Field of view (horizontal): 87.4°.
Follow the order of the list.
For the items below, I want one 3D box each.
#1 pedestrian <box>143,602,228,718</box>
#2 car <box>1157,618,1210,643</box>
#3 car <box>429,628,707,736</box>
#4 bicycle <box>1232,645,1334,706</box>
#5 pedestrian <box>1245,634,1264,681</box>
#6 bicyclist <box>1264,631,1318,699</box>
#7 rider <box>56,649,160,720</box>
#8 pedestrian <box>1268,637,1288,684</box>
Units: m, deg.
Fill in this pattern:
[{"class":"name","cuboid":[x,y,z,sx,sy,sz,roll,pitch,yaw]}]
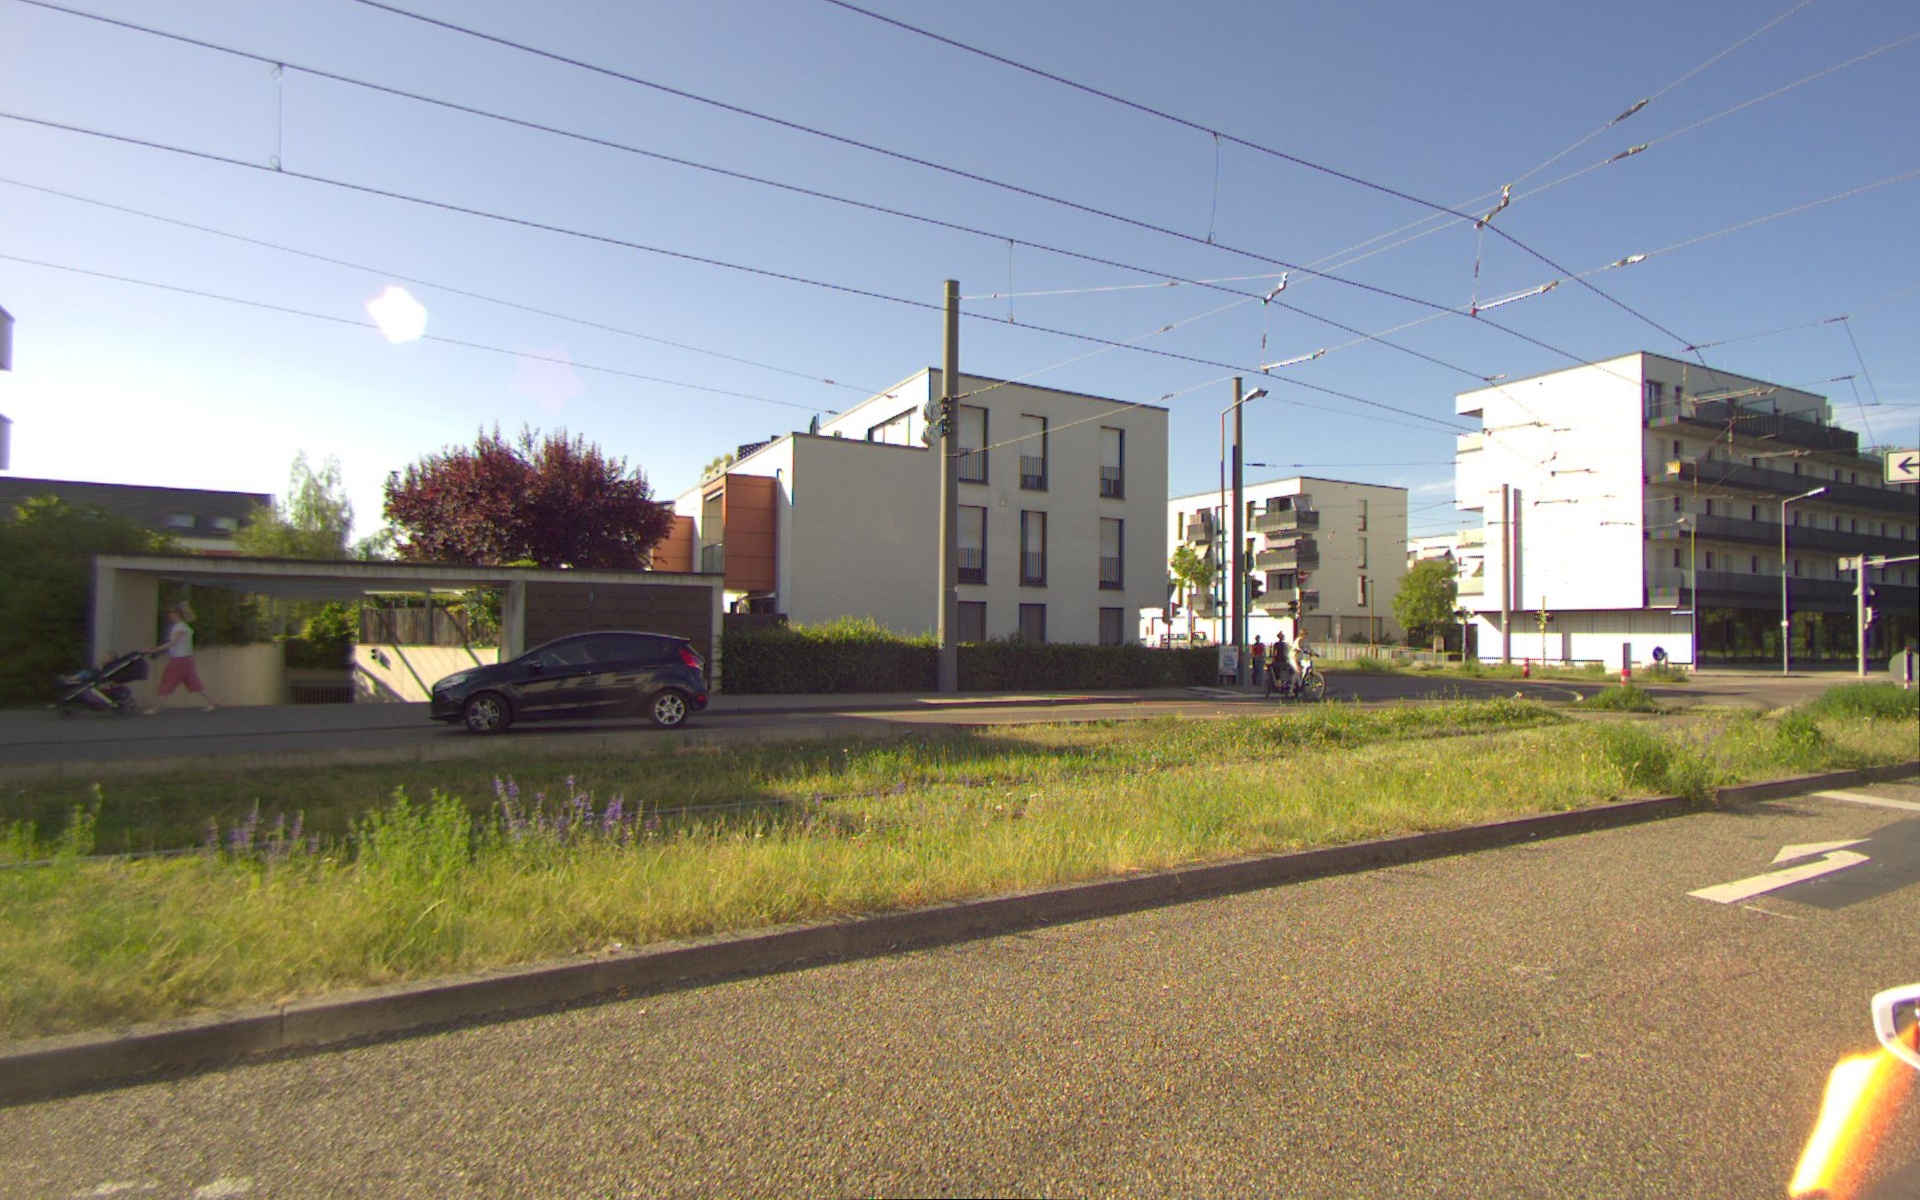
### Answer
[{"class":"pedestrian","cuboid":[-12.282,0.928,15.958,0.897,1.771,0.813,1,0,-26]},{"class":"car","cuboid":[17.800,2.436,80.101,1.977,1.862,3.967,1,0,-31]},{"class":"car","cuboid":[-5.809,1.178,15.103,3.687,1.449,1.700,1,-3,-23]},{"class":"bicycle","cuboid":[8.229,1.884,25.871,0.981,1.190,3.689,2,1,-8]},{"class":"pedestrian","cuboid":[9.708,1.882,33.135,0.548,1.483,0.742,1,0,19]},{"class":"bicyclist","cuboid":[8.336,1.619,25.316,0.958,1.651,0.911,1,0,-8]},{"class":"rider","cuboid":[-13.168,1.288,15.553,1.031,1.016,0.775,1,0,-25]},{"class":"pedestrian","cuboid":[10.386,1.960,32.798,0.548,1.483,0.611,1,0,23]}]
